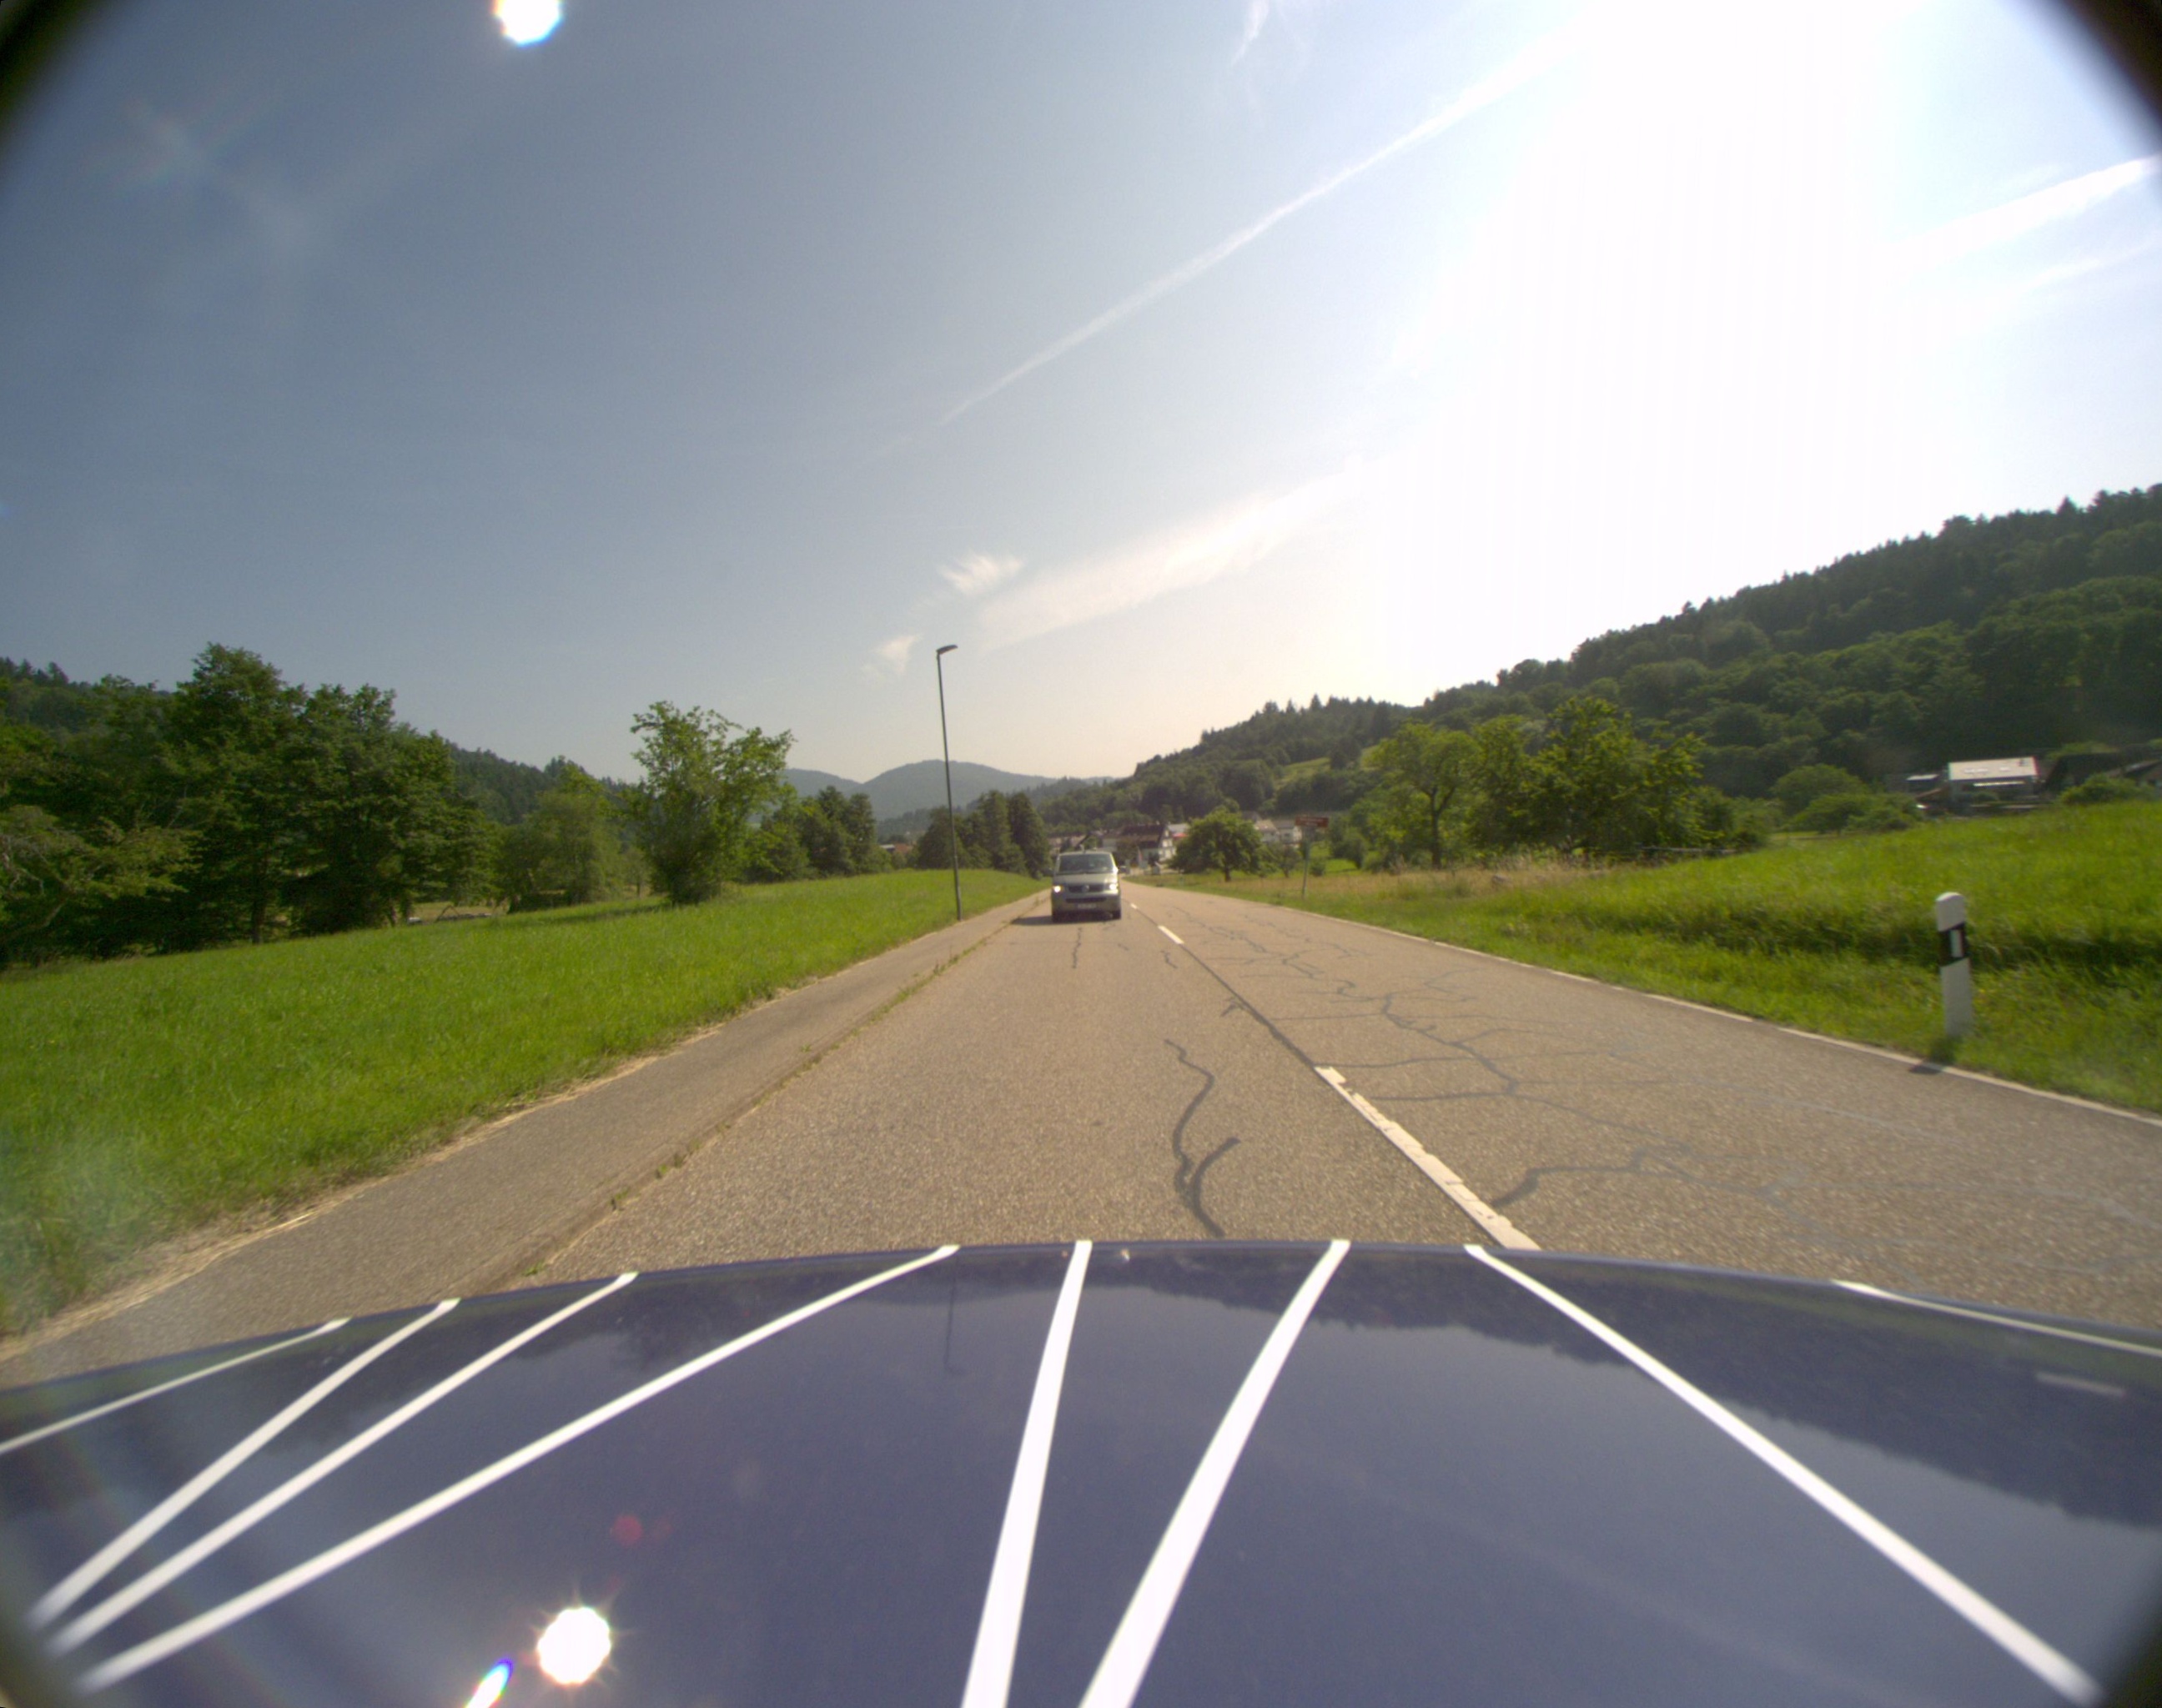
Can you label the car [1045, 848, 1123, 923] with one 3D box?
[{"bbox_3d":[0.227,0.898,23.479,2.023,1.970,5.051,-3,-1,4],"label":"car"}]
